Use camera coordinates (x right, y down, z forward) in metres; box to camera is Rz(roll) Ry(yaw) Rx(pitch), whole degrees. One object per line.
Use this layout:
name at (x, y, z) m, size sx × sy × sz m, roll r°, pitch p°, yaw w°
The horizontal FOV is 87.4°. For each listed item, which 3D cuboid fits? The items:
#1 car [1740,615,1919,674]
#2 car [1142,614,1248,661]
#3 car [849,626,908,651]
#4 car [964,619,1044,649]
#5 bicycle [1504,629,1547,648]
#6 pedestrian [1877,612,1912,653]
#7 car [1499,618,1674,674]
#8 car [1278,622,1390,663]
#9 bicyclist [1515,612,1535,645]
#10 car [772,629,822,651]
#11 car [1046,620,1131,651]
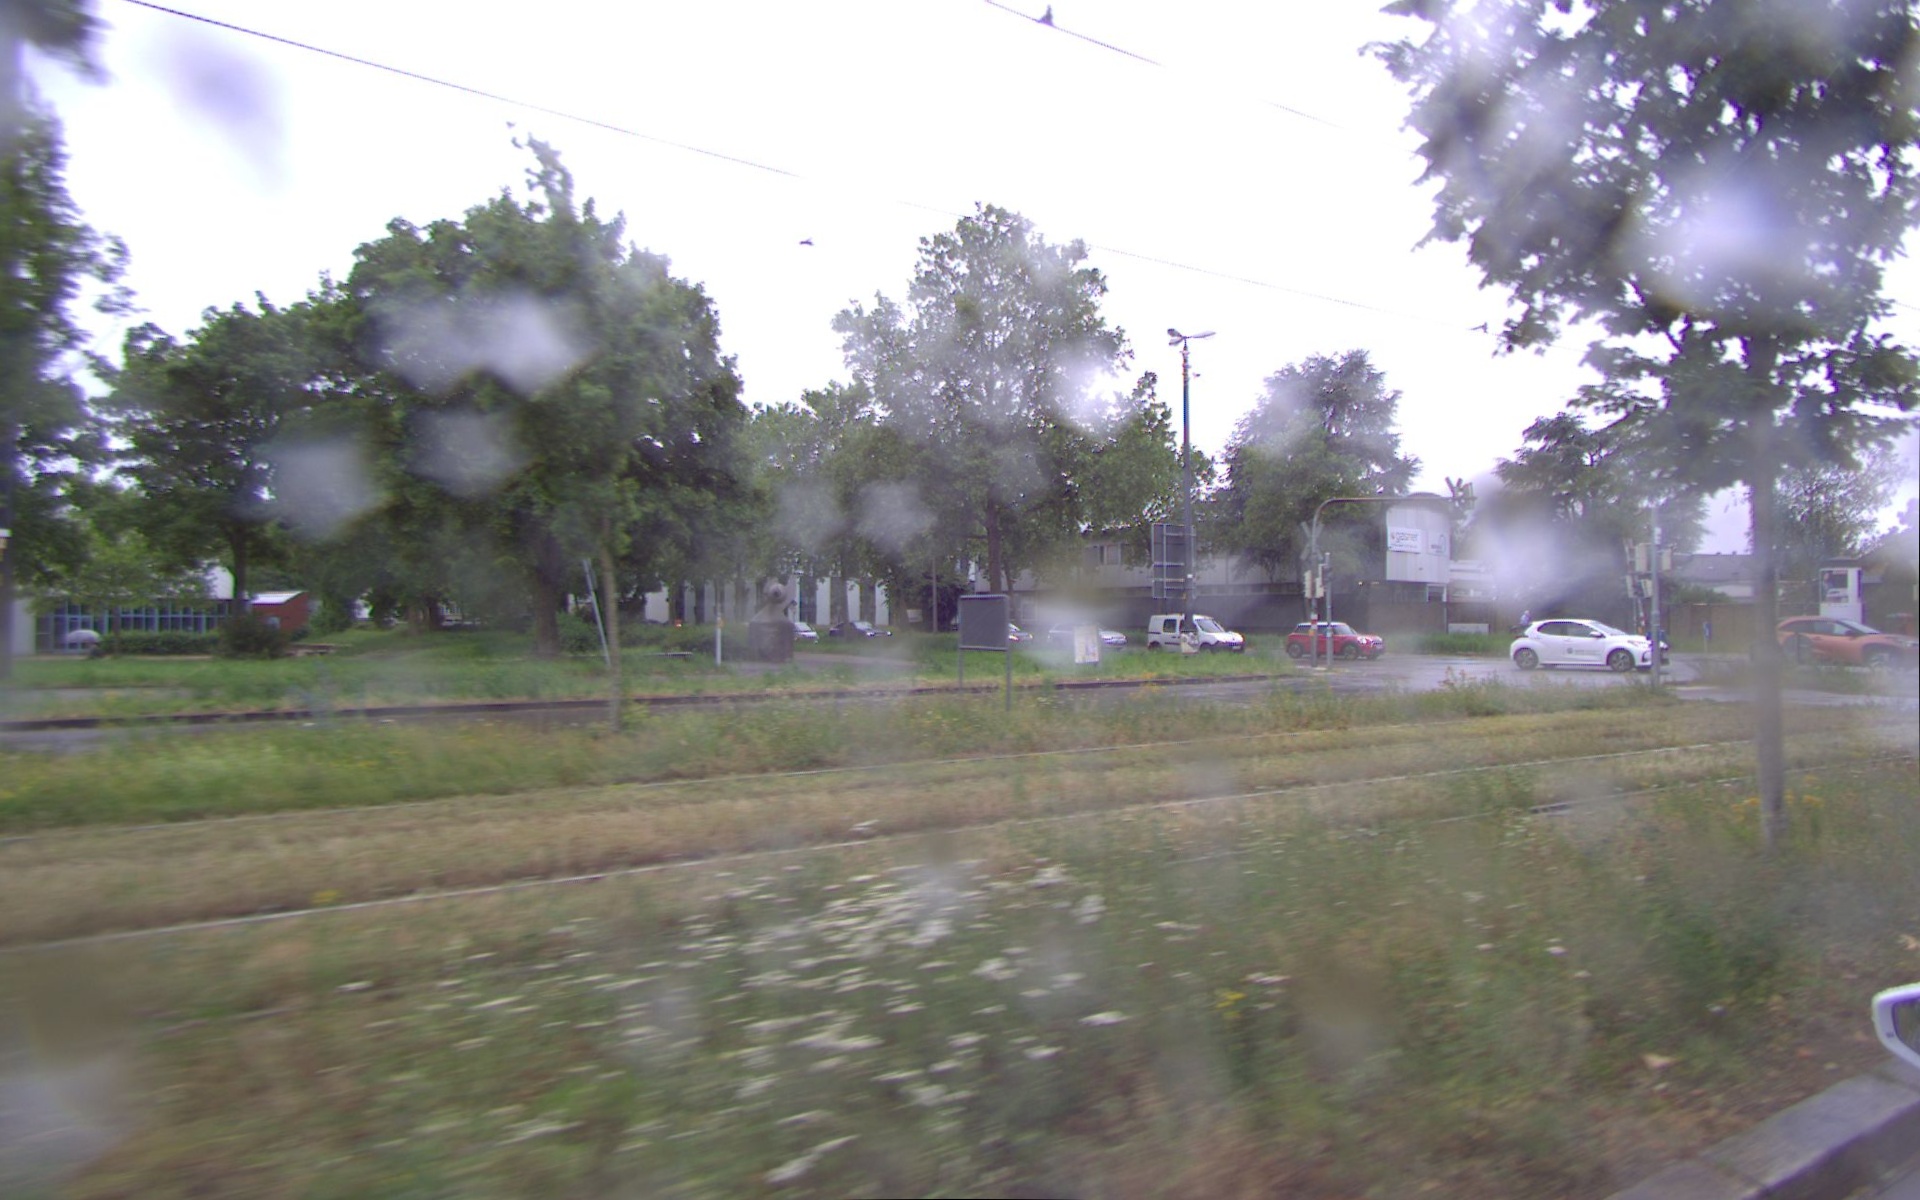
car at (23.946, 1.192, 27.504) m, size 1.636 × 1.518 × 3.793 m, roll 1°, pitch -2°, yaw -35°
car at (9.587, 1.482, 41.212) m, size 1.636 × 1.820 × 4.180 m, roll 0°, pitch -1°, yaw -36°
car at (-4.842, 2.263, 59.196) m, size 1.638 × 1.413 × 3.787 m, roll 2°, pitch -2°, yaw -38°
car at (2.180, 1.723, 50.913) m, size 1.638 × 1.475 × 4.322 m, roll 2°, pitch -2°, yaw -38°
bicycle at (29.812, 2.012, 52.982) m, size 0.634 × 0.979 × 1.949 m, roll 1°, pitch -2°, yaw -31°
pedestrian at (41.105, 1.411, 44.200) m, size 0.787 × 1.787 × 0.909 m, roll 0°, pitch -1°, yaw 18°
car at (18.236, 1.310, 29.403) m, size 1.636 × 1.518 × 4.039 m, roll 1°, pitch -2°, yaw -35°
car at (14.822, 1.662, 39.914) m, size 1.640 × 1.519 × 3.872 m, roll 0°, pitch -1°, yaw -42°
bicyclist at (29.802, 1.498, 53.005) m, size 0.635 × 1.705 × 0.680 m, roll 1°, pitch -2°, yaw -31°
car at (-10.683, 2.595, 65.696) m, size 1.638 × 1.413 × 3.787 m, roll 2°, pitch -2°, yaw -38°
car at (6.424, 1.774, 50.622) m, size 1.638 × 1.475 × 4.322 m, roll 2°, pitch -2°, yaw -38°
